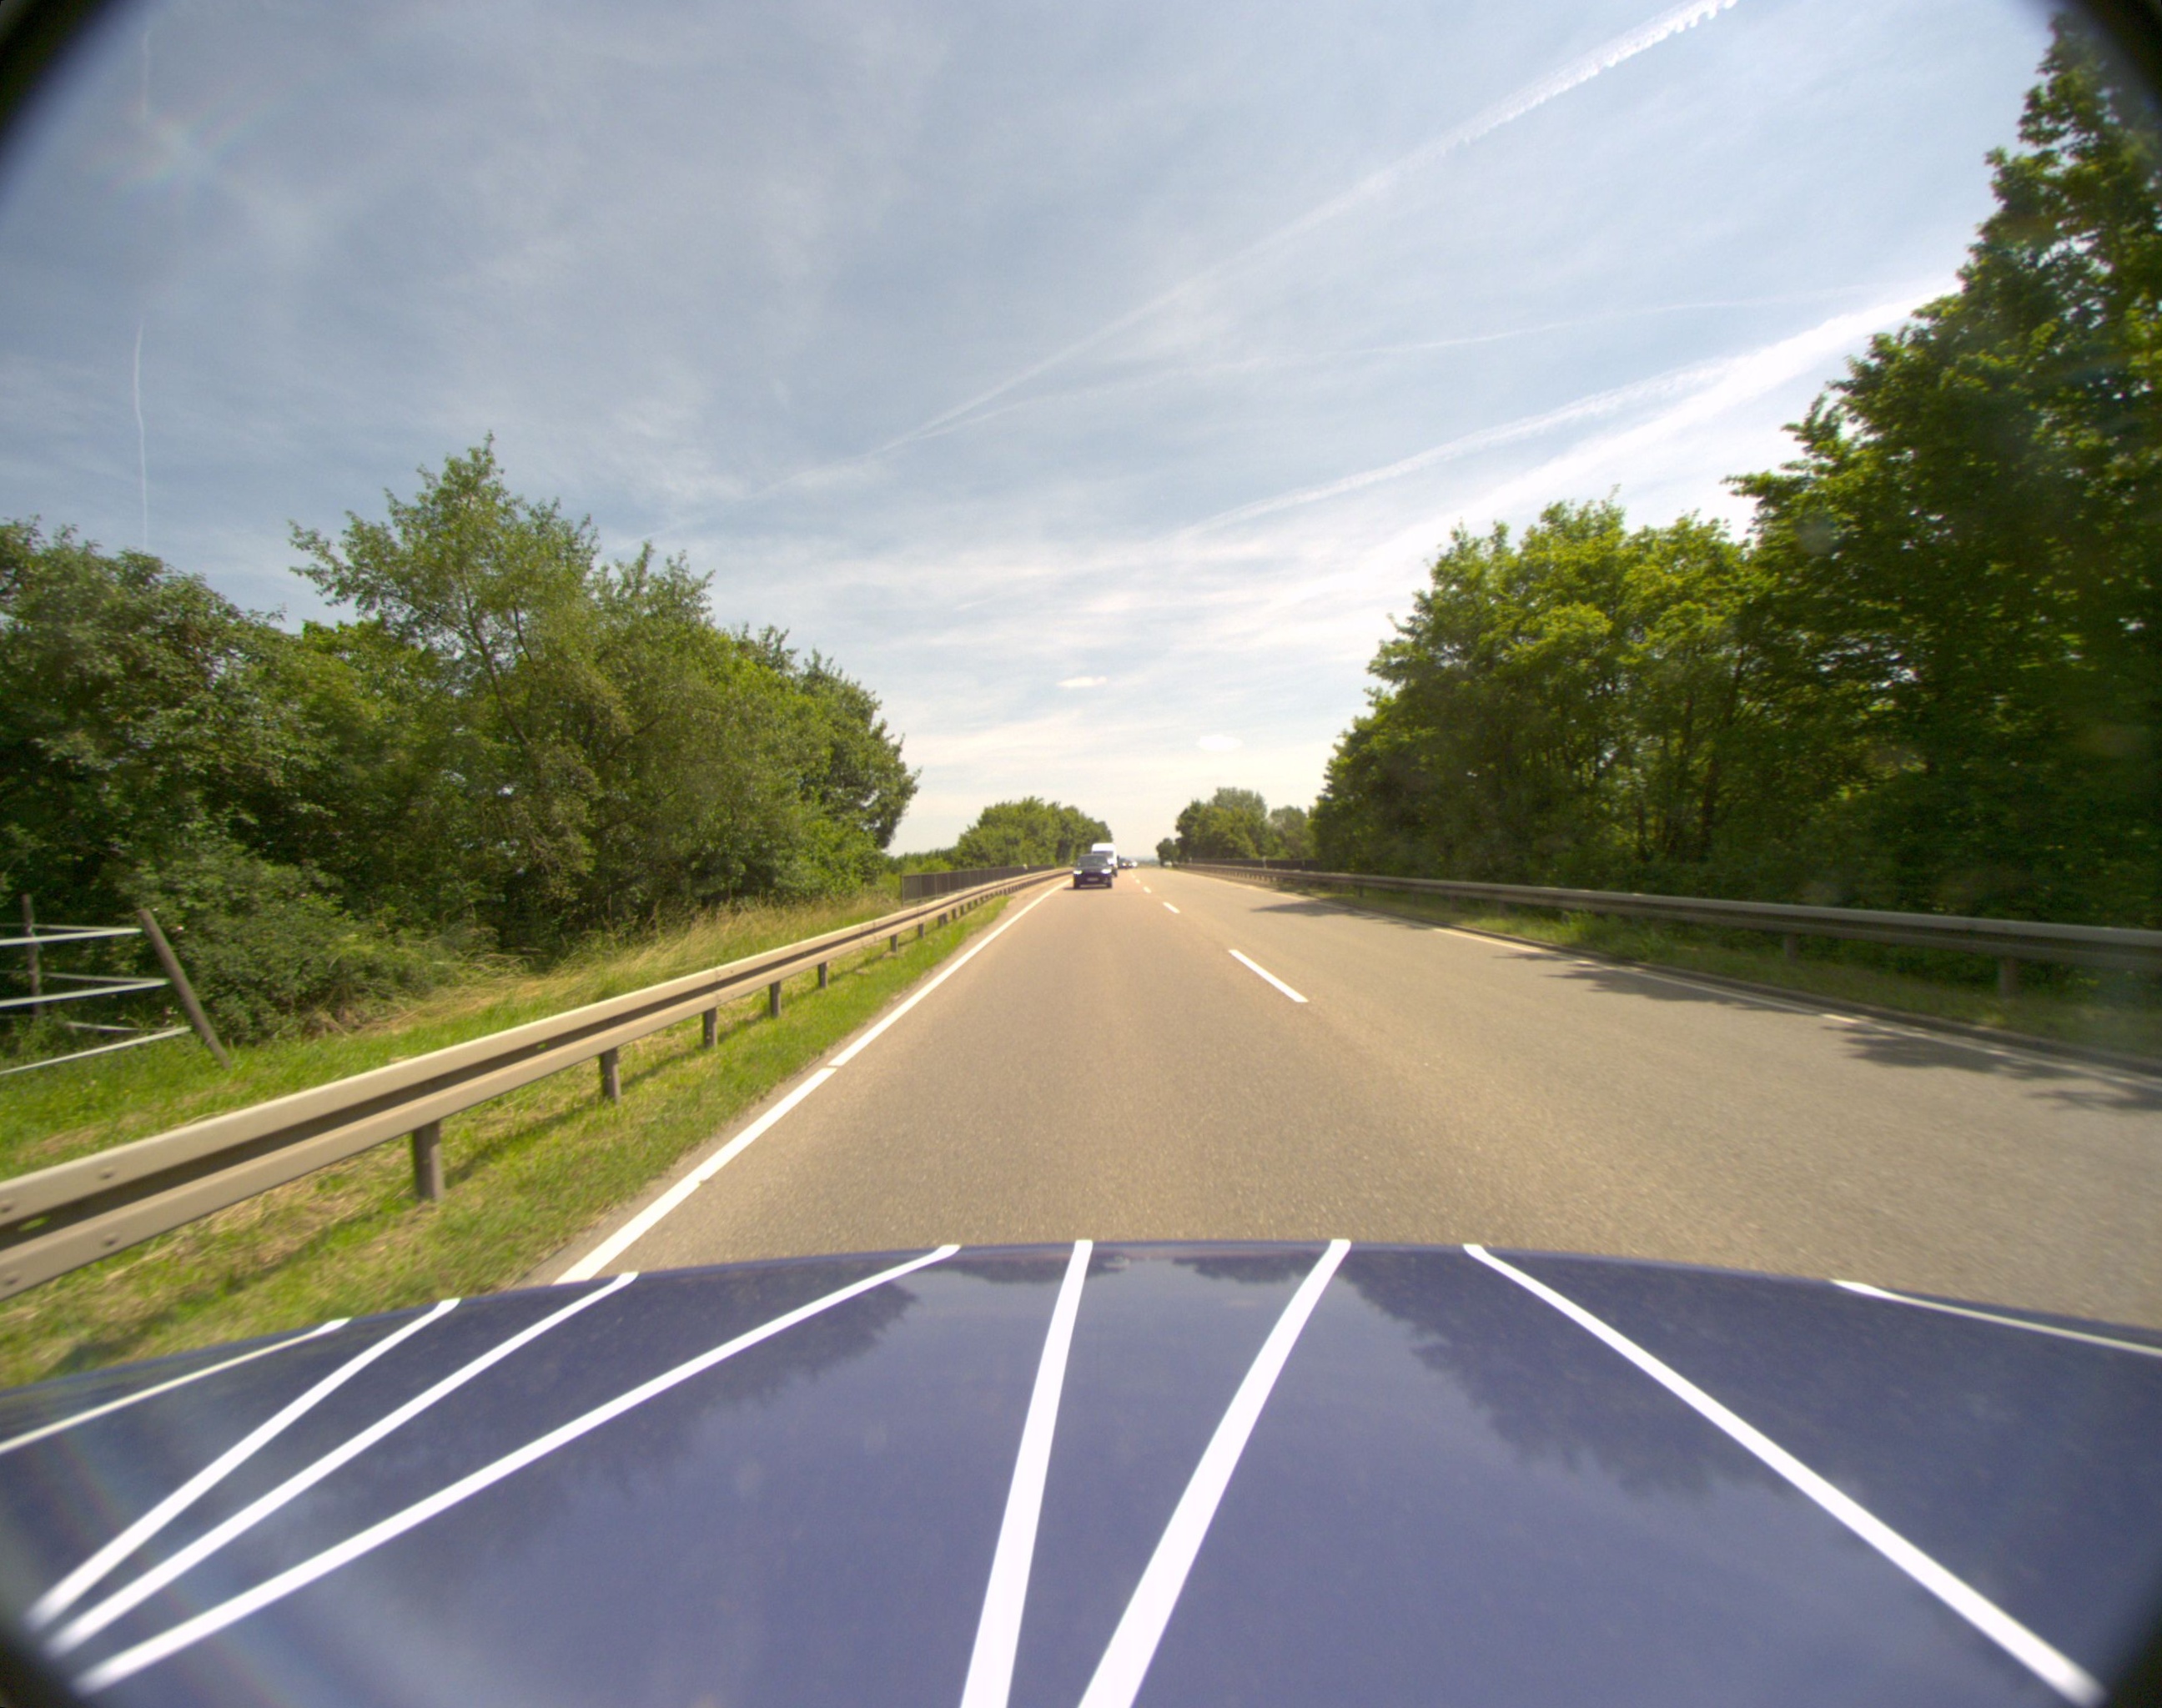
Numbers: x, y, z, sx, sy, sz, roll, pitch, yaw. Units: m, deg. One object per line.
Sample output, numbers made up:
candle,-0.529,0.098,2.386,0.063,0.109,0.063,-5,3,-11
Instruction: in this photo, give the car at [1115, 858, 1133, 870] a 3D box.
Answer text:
car,6.037,1.383,105.946,2.038,1.641,4.748,-1,0,9

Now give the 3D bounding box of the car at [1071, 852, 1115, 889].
car,0.679,0.749,38.075,2.039,1.691,5.513,0,0,2

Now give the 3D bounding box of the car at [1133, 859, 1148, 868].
car,11.345,1.776,144.037,2.037,1.641,4.749,-1,0,13

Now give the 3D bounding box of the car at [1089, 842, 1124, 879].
car,2.031,0.447,59.053,2.225,2.617,5.753,-2,1,5

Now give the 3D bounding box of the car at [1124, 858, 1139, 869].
car,8.153,1.545,122.358,2.037,1.641,4.748,-1,0,9

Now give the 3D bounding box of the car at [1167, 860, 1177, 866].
car,22.885,2.180,190.597,1.882,1.502,4.549,-1,0,15
